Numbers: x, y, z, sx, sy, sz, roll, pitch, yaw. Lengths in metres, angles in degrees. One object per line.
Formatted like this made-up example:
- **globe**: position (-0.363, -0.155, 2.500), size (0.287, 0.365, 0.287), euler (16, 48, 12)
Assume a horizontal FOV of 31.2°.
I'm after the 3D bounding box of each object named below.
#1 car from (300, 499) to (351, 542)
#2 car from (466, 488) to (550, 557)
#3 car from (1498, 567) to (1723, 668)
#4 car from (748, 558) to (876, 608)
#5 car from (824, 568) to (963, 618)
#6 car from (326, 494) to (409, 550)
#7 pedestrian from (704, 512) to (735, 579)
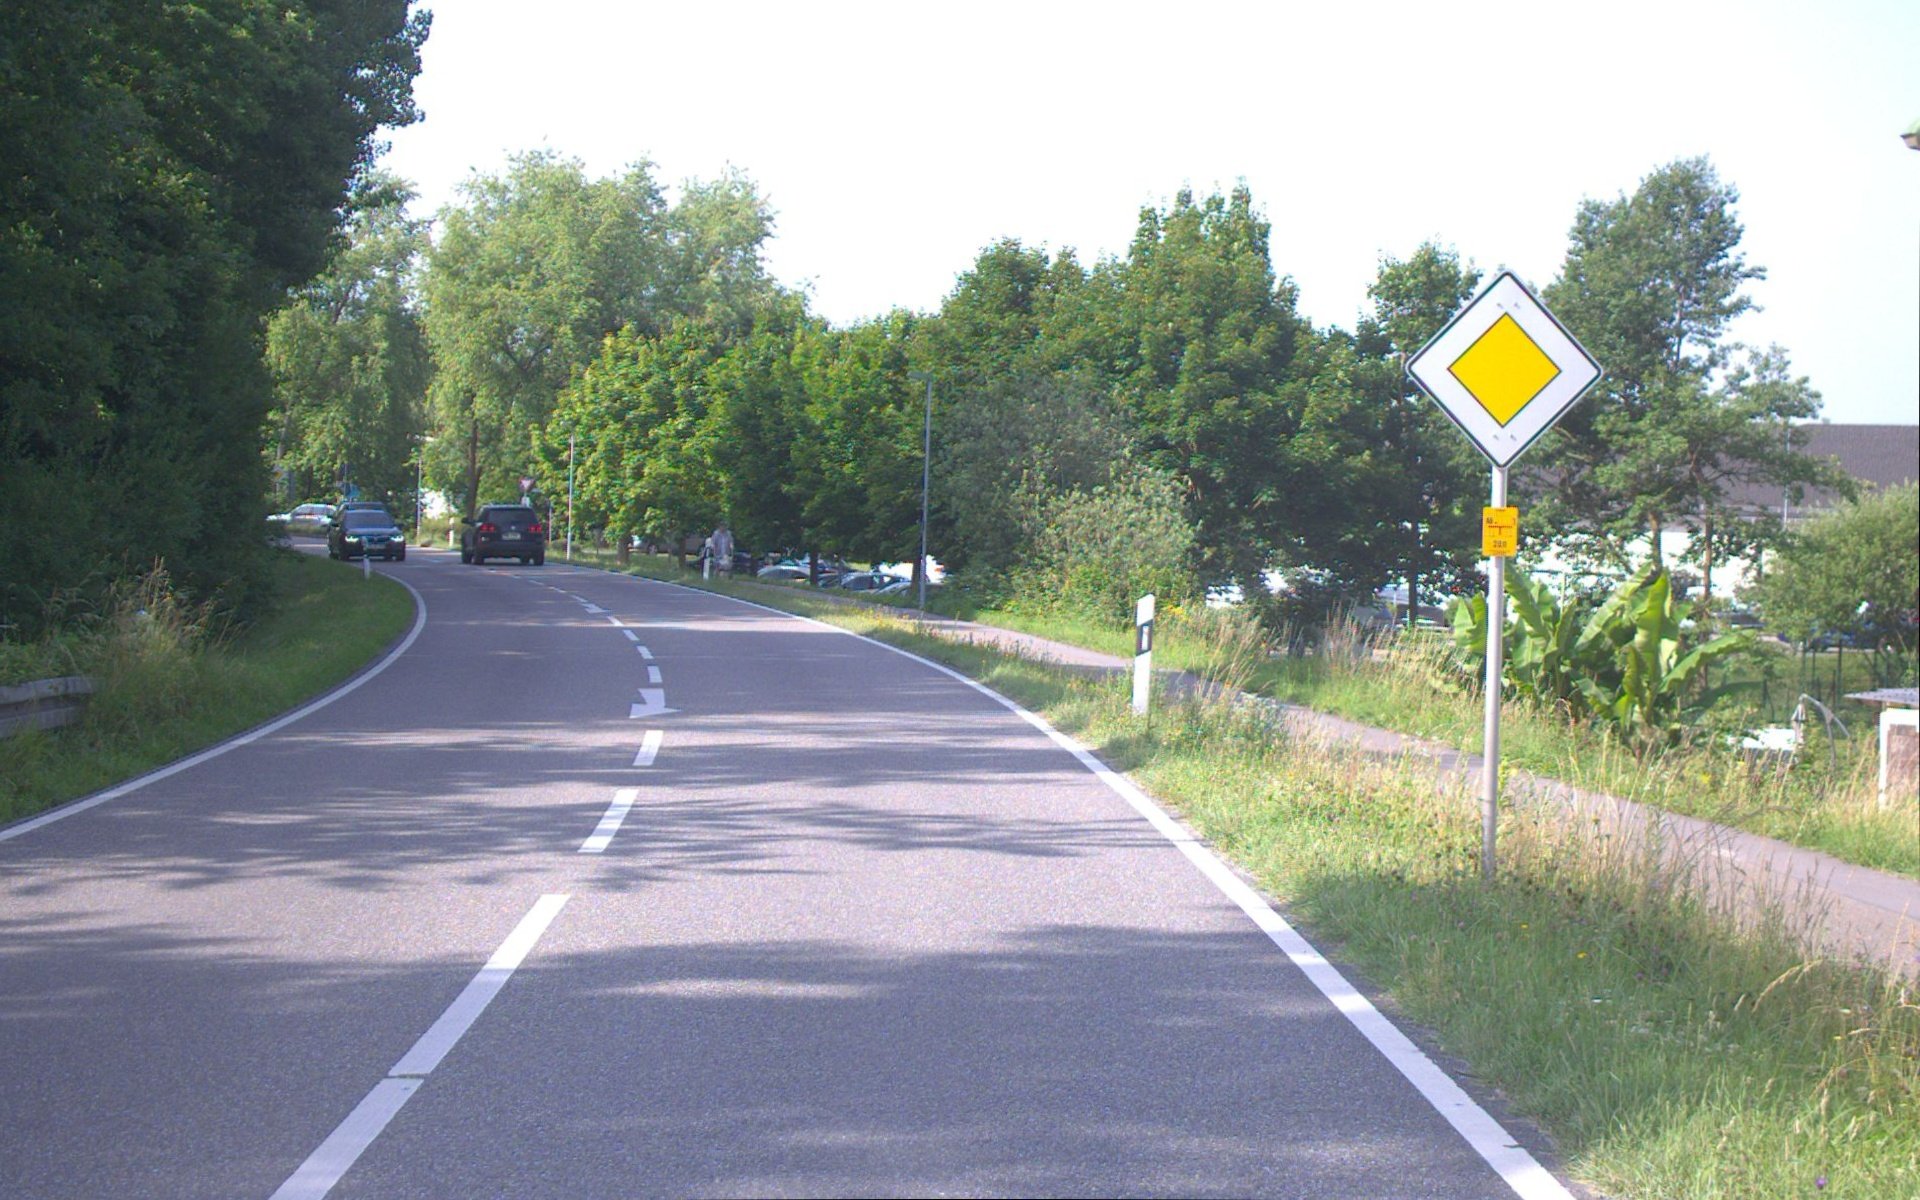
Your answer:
- **car**: position (-28.502, -3.590, 154.515), size (2.003, 1.765, 4.001), euler (2, 2, -8)
- **car**: position (-12.636, -2.179, 95.951), size (1.924, 1.765, 4.002), euler (2, 2, -12)
- **car**: position (18.528, 0.478, 98.006), size (5.778, 2.658, 2.402), euler (2, 1, 36)
- **car**: position (-5.268, -0.601, 121.976), size (4.233, 1.674, 1.891), euler (1, 1, -12)
- **car**: position (-2.159, -0.235, 111.094), size (4.261, 1.466, 1.844), euler (1, 1, -8)
- **car**: position (-17.311, -2.283, 100.343), size (1.750, 1.469, 4.002), euler (2, 2, -19)
- **pedestrian**: position (-6.462, -1.477, 92.369), size (0.754, 1.769, 0.973), euler (1, 1, -2)
